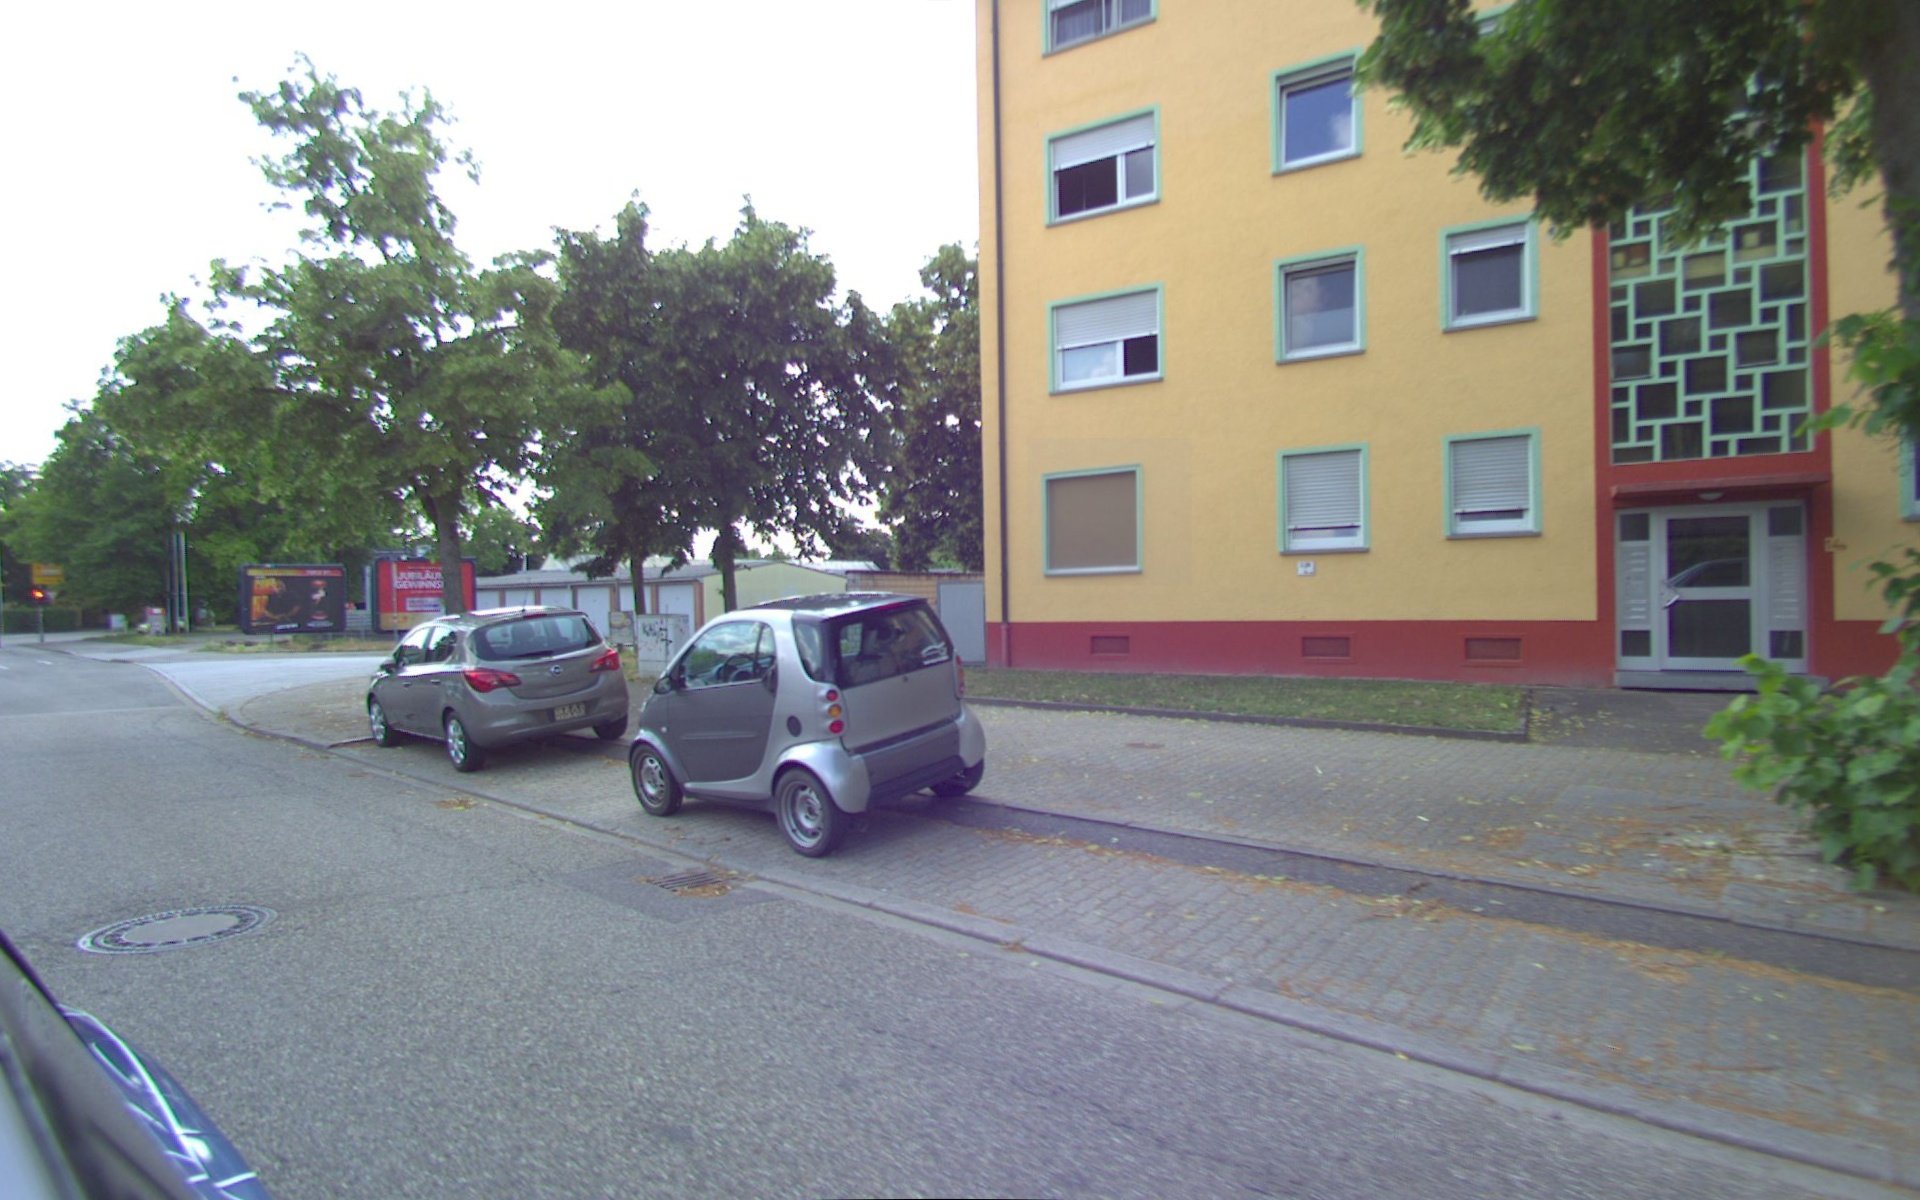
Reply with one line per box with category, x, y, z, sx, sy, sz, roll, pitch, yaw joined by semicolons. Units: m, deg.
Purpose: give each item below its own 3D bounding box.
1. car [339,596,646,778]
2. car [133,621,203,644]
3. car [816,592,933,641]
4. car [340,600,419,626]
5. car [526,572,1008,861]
car;-5.169;0.761;10.942;3.986;1.497;1.665;1;4;45
car;-68.619;2.795;87.725;1.727;1.790;4.475;-1;0;40
car;-3.101;0.619;36.619;3.878;1.550;1.638;-3;-2;25
car;-38.867;0.858;67.800;4.528;1.608;2.140;-1;0;19
car;-1.620;0.711;7.679;3.754;1.560;1.502;-2;5;42
